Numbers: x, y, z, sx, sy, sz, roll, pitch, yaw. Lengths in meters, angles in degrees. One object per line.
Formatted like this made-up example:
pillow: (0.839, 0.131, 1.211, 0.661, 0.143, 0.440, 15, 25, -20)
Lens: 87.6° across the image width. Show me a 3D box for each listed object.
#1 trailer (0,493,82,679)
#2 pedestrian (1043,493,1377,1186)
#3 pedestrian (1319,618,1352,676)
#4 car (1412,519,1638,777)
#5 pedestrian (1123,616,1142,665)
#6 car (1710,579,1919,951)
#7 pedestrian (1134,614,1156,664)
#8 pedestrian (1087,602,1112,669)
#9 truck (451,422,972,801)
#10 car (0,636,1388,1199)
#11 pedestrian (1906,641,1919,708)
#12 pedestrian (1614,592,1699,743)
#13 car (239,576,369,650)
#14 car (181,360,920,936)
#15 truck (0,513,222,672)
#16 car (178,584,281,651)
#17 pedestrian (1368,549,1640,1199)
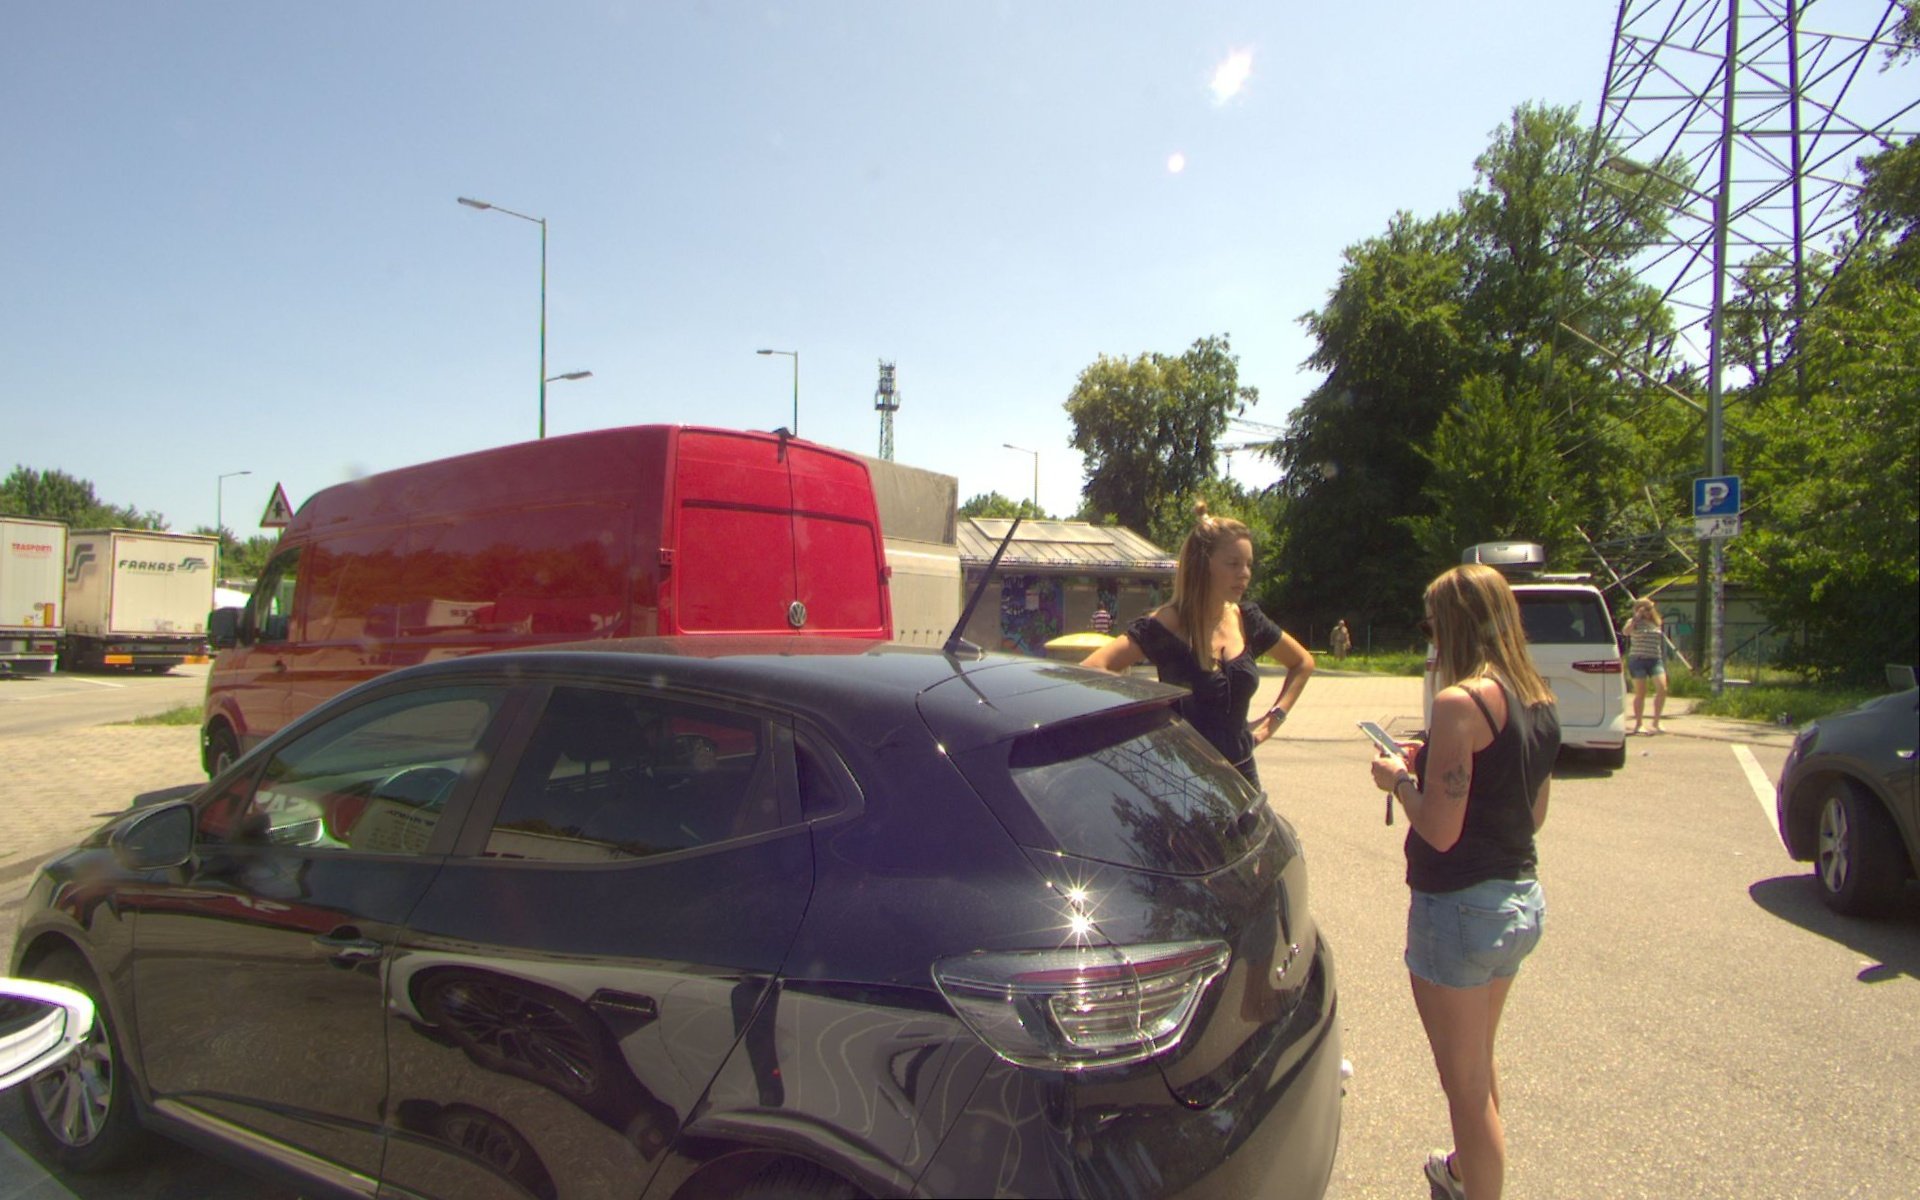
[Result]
trailer: (-28.583, -0.348, 27.839, 12.642, 4.511, 2.677, 0, -1, 32)
pedestrian: (0.780, 0.663, 3.139, 0.898, 1.884, 0.485, 1, 0, -25)
pedestrian: (13.527, 1.693, 36.049, 0.955, 2.039, 0.829, 0, -1, 10)
car: (6.673, 0.505, 11.953, 1.901, 2.401, 4.954, 1, -1, 29)
pedestrian: (4.857, 1.124, 28.160, 0.439, 1.362, 0.477, 0, 0, 23)
car: (5.076, 0.720, 3.637, 1.803, 1.638, 4.168, 1, -1, 5)
pedestrian: (5.559, 1.161, 30.035, 0.521, 1.478, 0.576, 0, 0, 23)
pedestrian: (3.778, 0.941, 27.060, 0.520, 1.783, 0.651, 0, 0, 23)
truck: (-2.541, 0.173, 9.944, 4.751, 2.863, 2.514, -1, -2, 34)
car: (-0.839, 0.842, 2.807, 3.629, 1.476, 1.776, -1, -2, 28)
pedestrian: (17.119, 1.302, 17.427, 0.694, 1.178, 0.787, -1, -1, 22)
pedestrian: (9.131, 0.865, 13.162, 0.764, 1.903, 0.837, -1, -1, 26)
car: (-29.462, 0.594, 44.922, 6.259, 3.114, 2.495, 0, -1, 32)
car: (-3.379, 0.249, 7.315, 6.298, 2.668, 1.988, 0, -1, 36)
truck: (-27.134, -0.030, 31.204, 11.800, 4.279, 2.582, -1, -2, 32)
car: (-29.933, 0.748, 41.005, 3.943, 2.632, 2.111, -1, -2, 32)
pedestrian: (1.213, 0.716, 2.264, 0.478, 1.615, 0.501, 0, 0, 29)
